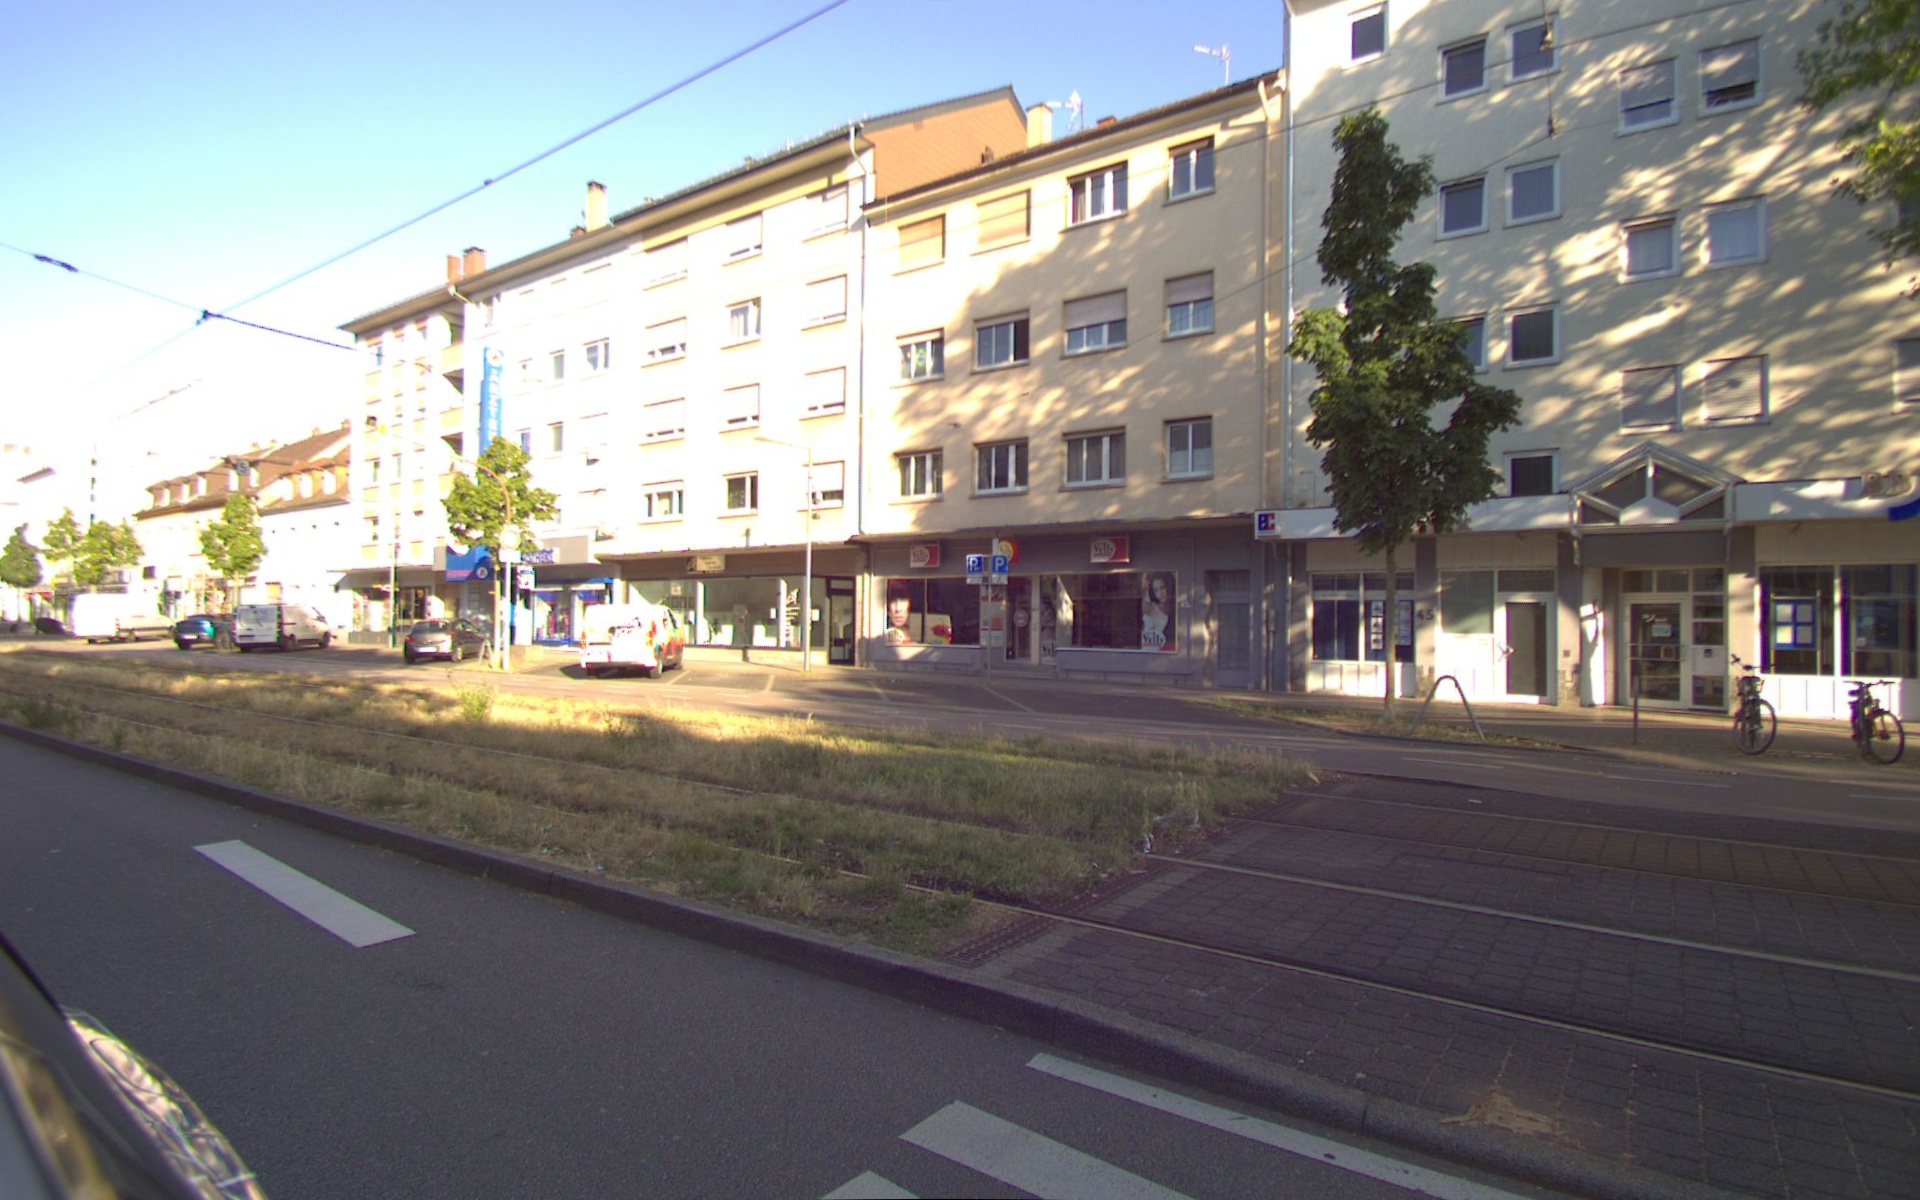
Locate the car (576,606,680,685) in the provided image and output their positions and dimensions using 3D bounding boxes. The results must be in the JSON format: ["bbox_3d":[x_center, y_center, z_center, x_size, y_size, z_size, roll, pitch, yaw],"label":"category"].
[{"bbox_3d":[-8.787,1.141,27.095,1.830,1.913,4.005,0,0,-6],"label":"car"}]

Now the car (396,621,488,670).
[{"bbox_3d":[-17.529,1.484,34.458,1.708,1.508,4.009,0,0,-10],"label":"car"}]

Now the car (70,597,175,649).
[{"bbox_3d":[-45.396,1.201,55.074,1.895,2.634,6.608,0,0,-16],"label":"car"}]

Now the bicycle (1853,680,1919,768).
[{"bbox_3d":[11.337,1.480,12.369,0.471,0.895,1.724,-1,-1,36],"label":"bicycle"}]

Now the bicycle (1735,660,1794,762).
[{"bbox_3d":[10.303,1.378,12.990,0.511,1.147,1.724,-1,-1,36],"label":"bicycle"}]

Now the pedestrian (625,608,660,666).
[{"bbox_3d":[-10.242,1.187,32.636,0.746,1.841,0.918,1,-1,-43],"label":"pedestrian"}]

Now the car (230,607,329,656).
[{"bbox_3d":[-28.634,1.279,42.749,1.828,1.952,4.514,0,0,-10],"label":"car"}]

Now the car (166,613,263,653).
[{"bbox_3d":[-34.281,1.495,46.657,1.830,1.727,3.919,0,0,-4],"label":"car"}]
